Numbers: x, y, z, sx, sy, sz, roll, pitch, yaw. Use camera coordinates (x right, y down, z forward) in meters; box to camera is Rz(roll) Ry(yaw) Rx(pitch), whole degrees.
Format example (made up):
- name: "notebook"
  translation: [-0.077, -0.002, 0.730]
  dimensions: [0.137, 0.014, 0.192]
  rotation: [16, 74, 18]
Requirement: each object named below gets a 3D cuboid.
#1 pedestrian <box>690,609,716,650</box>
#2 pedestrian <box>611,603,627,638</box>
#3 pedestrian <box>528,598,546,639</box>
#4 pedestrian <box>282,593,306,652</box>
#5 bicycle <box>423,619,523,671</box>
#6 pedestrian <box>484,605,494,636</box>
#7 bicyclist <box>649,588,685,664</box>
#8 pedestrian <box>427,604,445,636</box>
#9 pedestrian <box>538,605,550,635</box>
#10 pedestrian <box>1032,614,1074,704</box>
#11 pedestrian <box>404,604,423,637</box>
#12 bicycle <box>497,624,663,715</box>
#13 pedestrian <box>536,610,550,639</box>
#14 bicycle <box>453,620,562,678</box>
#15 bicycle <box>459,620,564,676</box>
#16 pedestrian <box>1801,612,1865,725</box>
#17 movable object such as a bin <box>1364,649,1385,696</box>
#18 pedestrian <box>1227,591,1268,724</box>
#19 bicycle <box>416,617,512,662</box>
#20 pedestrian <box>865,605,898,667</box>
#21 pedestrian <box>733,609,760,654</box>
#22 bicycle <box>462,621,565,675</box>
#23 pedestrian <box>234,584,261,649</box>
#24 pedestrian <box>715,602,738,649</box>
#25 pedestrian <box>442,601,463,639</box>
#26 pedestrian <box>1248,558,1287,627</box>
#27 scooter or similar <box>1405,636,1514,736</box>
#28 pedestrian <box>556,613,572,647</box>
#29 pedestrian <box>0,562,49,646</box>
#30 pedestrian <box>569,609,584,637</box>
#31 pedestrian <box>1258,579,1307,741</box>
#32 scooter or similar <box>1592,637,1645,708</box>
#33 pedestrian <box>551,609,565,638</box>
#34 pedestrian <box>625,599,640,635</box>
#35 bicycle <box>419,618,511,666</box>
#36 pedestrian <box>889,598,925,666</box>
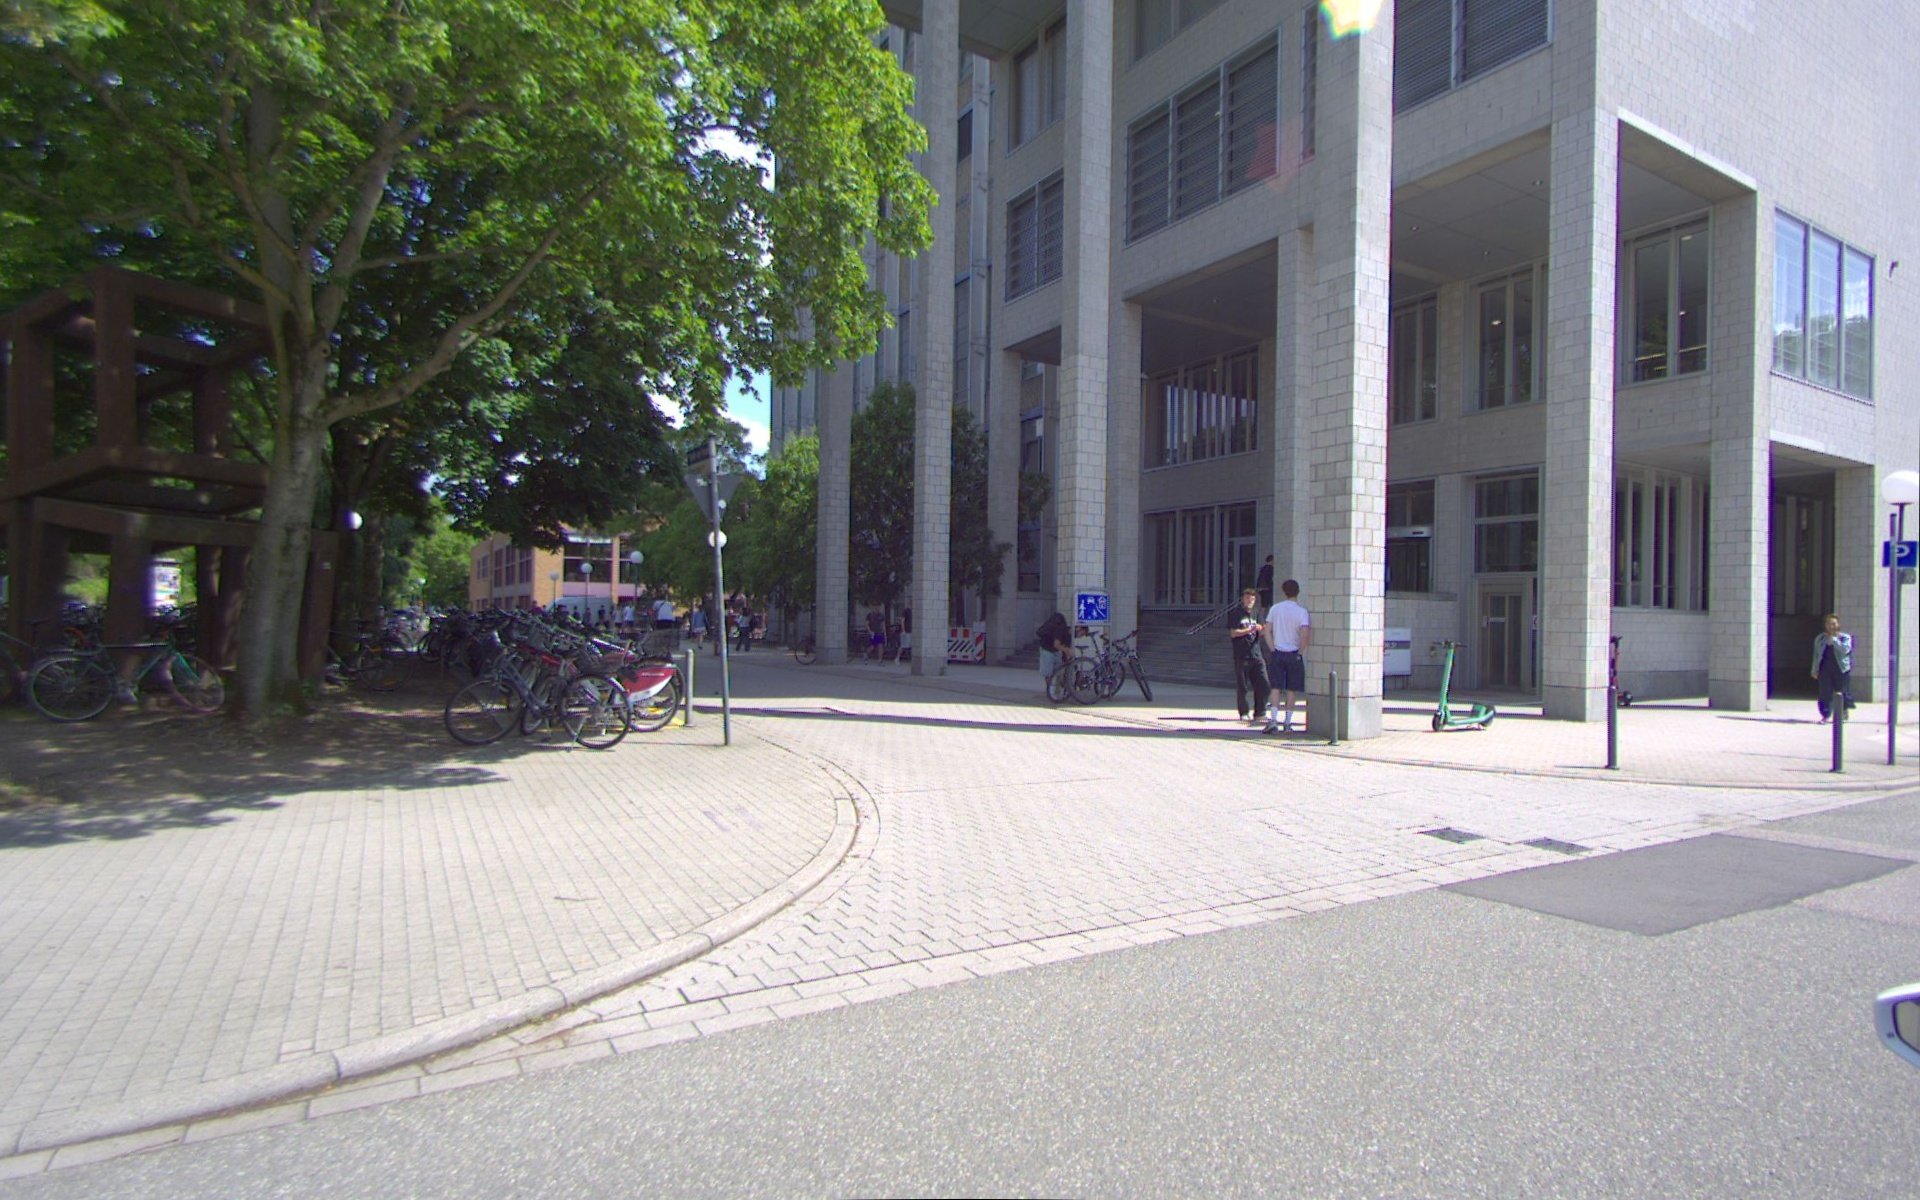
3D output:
- name: "pedestrian"
  translation: [-10.000, 1.157, 39.083]
  dimensions: [0.713, 1.561, 0.697]
  rotation: [1, 0, -38]
- name: "pedestrian"
  translation: [-17.511, 1.051, 51.594]
  dimensions: [0.633, 1.733, 0.658]
  rotation: [1, 0, -28]
- name: "pedestrian"
  translation: [-21.017, 0.918, 49.910]
  dimensions: [0.748, 1.979, 0.636]
  rotation: [1, 0, -28]
- name: "pedestrian"
  translation: [-23.601, 0.794, 35.605]
  dimensions: [0.511, 2.040, 0.532]
  rotation: [1, 0, -16]
- name: "bicycle"
  translation: [-10.825, 0.994, 22.357]
  dimensions: [1.950, 1.101, 0.549]
  rotation: [2, 1, -31]
- name: "pedestrian"
  translation: [-25.021, 1.109, 53.357]
  dimensions: [0.489, 1.627, 0.585]
  rotation: [1, 0, -26]
- name: "bicyclist"
  translation: [-8.067, 0.705, 27.649]
  dimensions: [0.863, 2.040, 0.846]
  rotation: [1, 0, -19]
- name: "pedestrian"
  translation: [-27.760, 1.051, 53.264]
  dimensions: [0.770, 1.637, 0.721]
  rotation: [3, -1, -28]
- name: "pedestrian"
  translation: [-23.688, 1.156, 57.217]
  dimensions: [0.516, 1.689, 0.600]
  rotation: [1, 0, -14]
- name: "pedestrian"
  translation: [1.490, 0.931, 16.130]
  dimensions: [0.440, 1.402, 0.462]
  rotation: [-3, 1, -40]
- name: "pedestrian"
  translation: [-26.914, 0.997, 49.474]
  dimensions: [0.751, 1.617, 0.391]
  rotation: [1, 0, -32]
- name: "bicycle"
  translation: [-4.954, 0.886, 13.153]
  dimensions: [1.950, 1.101, 0.549]
  rotation: [2, 1, -31]
- name: "pedestrian"
  translation: [-23.737, 1.387, 57.189]
  dimensions: [0.596, 1.627, 0.627]
  rotation: [1, 0, -31]
- name: "bicycle"
  translation: [-9.160, 0.988, 20.379]
  dimensions: [1.950, 1.101, 0.549]
  rotation: [2, 1, -31]
- name: "bicycle"
  translation: [-9.369, 1.004, 21.022]
  dimensions: [1.950, 1.101, 0.549]
  rotation: [2, 1, -31]
- name: "pedestrian"
  translation: [13.865, 1.067, 15.943]
  dimensions: [0.882, 1.724, 0.644]
  rotation: [1, -1, -41]
- name: "movable object such as a bin"
  translation: [8.281, 1.440, 20.056]
  dimensions: [0.444, 0.907, 0.167]
  rotation: [1, -1, -36]
- name: "pedestrian"
  translation: [3.973, 0.777, 13.867]
  dimensions: [0.434, 1.799, 0.450]
  rotation: [1, 0, 29]
- name: "bicycle"
  translation: [-12.343, 0.974, 25.021]
  dimensions: [2.105, 1.082, 0.495]
  rotation: [2, -1, -32]
- name: "pedestrian"
  translation: [-2.098, 0.953, 26.807]
  dimensions: [0.590, 1.614, 0.824]
  rotation: [1, -1, -28]
- name: "pedestrian"
  translation: [-7.845, 1.163, 36.900]
  dimensions: [0.776, 1.625, 0.597]
  rotation: [1, 0, -28]
- name: "bicycle"
  translation: [-9.605, 1.018, 21.641]
  dimensions: [1.950, 1.101, 0.549]
  rotation: [2, 1, -31]
- name: "pedestrian"
  translation: [-22.653, 0.534, 31.933]
  dimensions: [0.511, 2.040, 0.532]
  rotation: [1, 0, -16]
- name: "pedestrian"
  translation: [-8.330, 0.916, 35.839]
  dimensions: [0.633, 1.671, 0.597]
  rotation: [1, 0, -28]
- name: "pedestrian"
  translation: [-23.020, 0.906, 45.565]
  dimensions: [0.591, 1.718, 0.632]
  rotation: [1, 0, -4]
- name: "pedestrian"
  translation: [7.726, -0.177, 25.228]
  dimensions: [0.682, 1.683, 0.633]
  rotation: [1, 0, -12]
- name: "scooter or similar"
  translation: [6.558, 1.103, 13.179]
  dimensions: [1.529, 1.240, 0.453]
  rotation: [1, -1, -27]
- name: "pedestrian"
  translation: [-21.484, 1.628, 54.483]
  dimensions: [0.691, 1.865, 0.570]
  rotation: [1, 0, -28]
- name: "pedestrian"
  translation: [-22.307, 0.090, 23.917]
  dimensions: [0.635, 1.960, 0.696]
  rotation: [1, 0, 24]
- name: "pedestrian"
  translation: [-22.432, 1.360, 58.763]
  dimensions: [0.627, 1.627, 0.595]
  rotation: [1, 0, -41]
- name: "pedestrian"
  translation: [4.052, 0.729, 12.617]
  dimensions: [0.406, 1.967, 0.662]
  rotation: [2, 0, 30]
- name: "scooter or similar"
  translation: [12.156, 1.311, 18.572]
  dimensions: [0.516, 1.226, 1.557]
  rotation: [1, -1, 22]
- name: "pedestrian"
  translation: [-23.075, 1.352, 57.626]
  dimensions: [0.596, 1.627, 0.627]
  rotation: [1, 0, -31]
- name: "pedestrian"
  translation: [-16.926, 0.876, 51.923]
  dimensions: [0.633, 1.871, 0.658]
  rotation: [1, 0, -28]
- name: "bicycle"
  translation: [-11.927, 1.020, 24.235]
  dimensions: [1.950, 1.101, 0.549]
  rotation: [2, 1, -31]
- name: "pedestrian"
  translation: [-1.436, 0.868, 27.161]
  dimensions: [0.728, 1.814, 0.621]
  rotation: [1, -1, -30]
